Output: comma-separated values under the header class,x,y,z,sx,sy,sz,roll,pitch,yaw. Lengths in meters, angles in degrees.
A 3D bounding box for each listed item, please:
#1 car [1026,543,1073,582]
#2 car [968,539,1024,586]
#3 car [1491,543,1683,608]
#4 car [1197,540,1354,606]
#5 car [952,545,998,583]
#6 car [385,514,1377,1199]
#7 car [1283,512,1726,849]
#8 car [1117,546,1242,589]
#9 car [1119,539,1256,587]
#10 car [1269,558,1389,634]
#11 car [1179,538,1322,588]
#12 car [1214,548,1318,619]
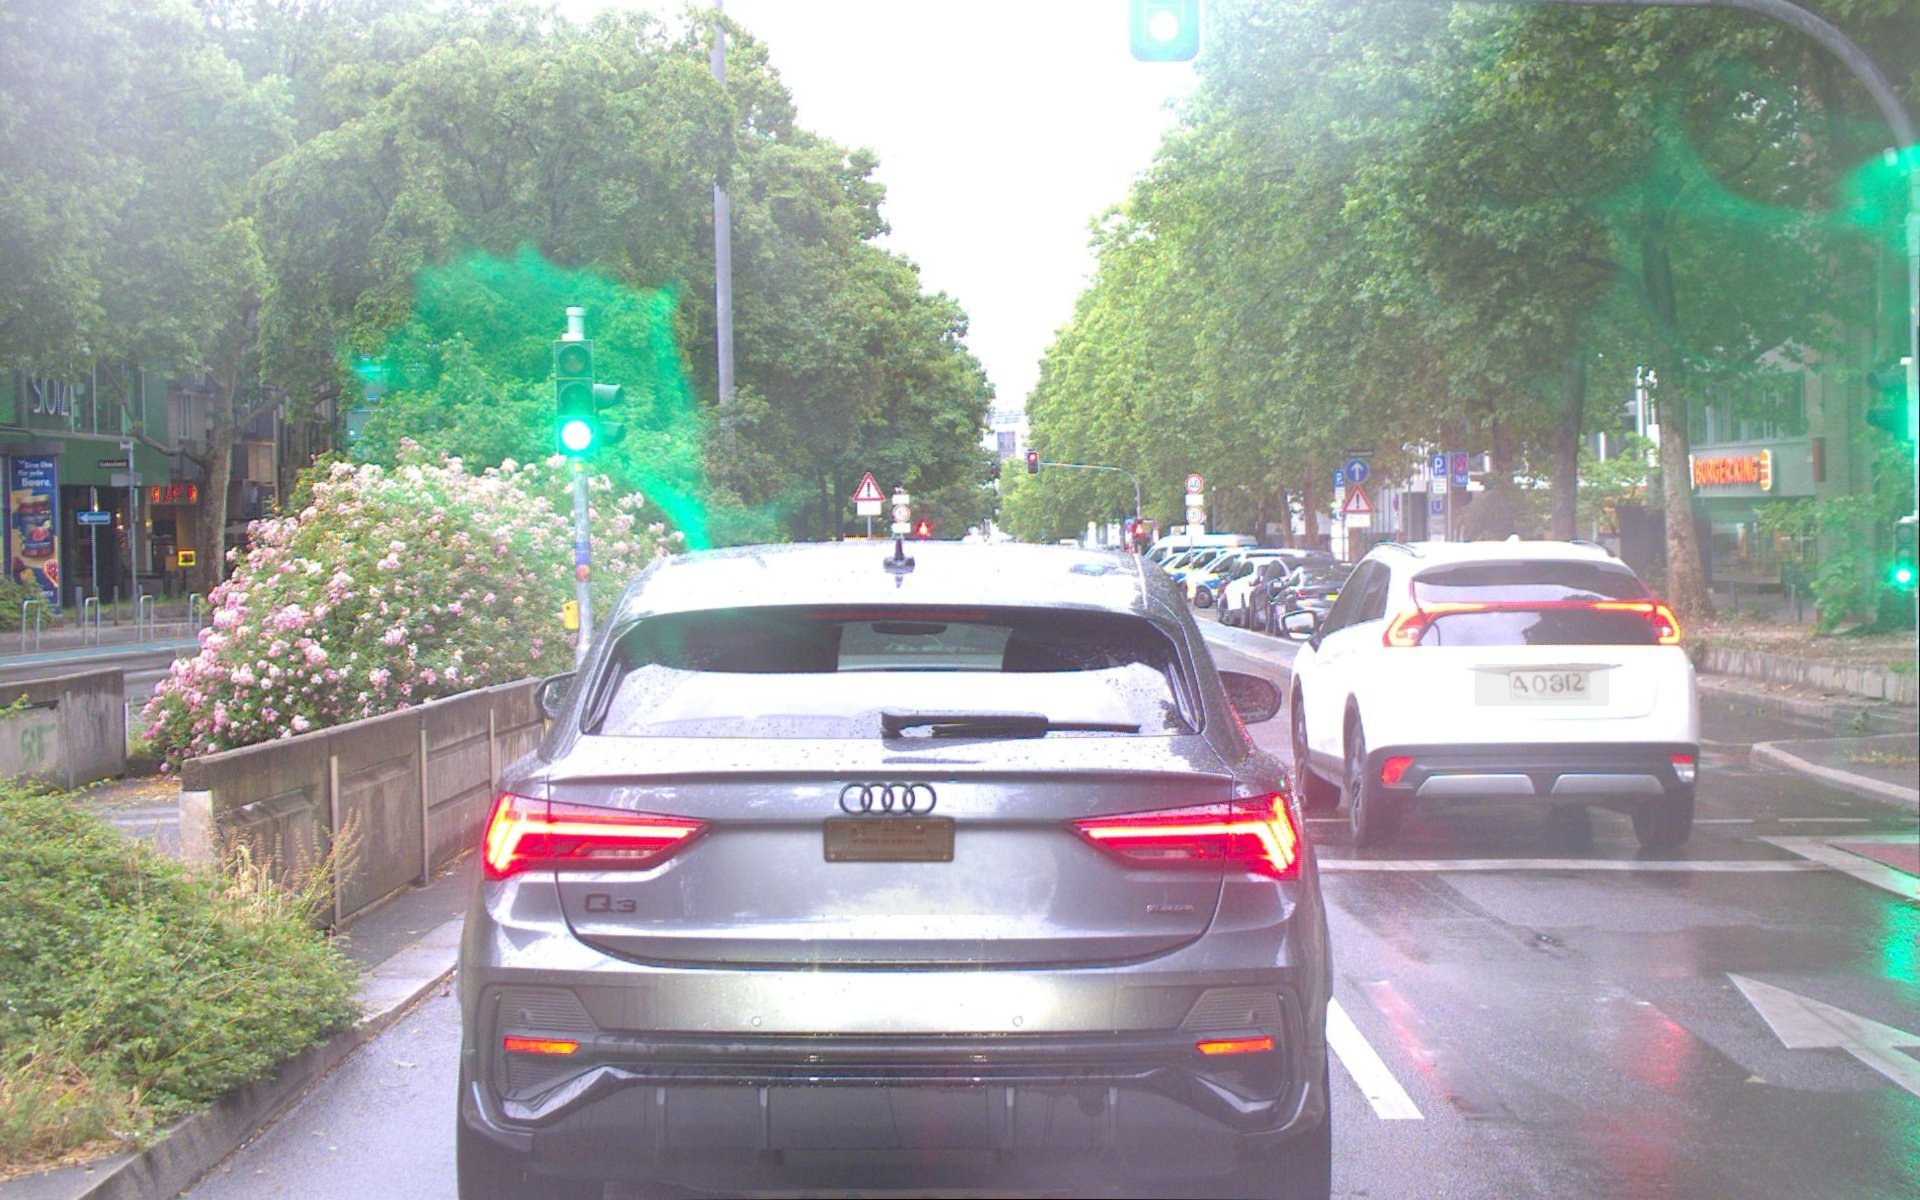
class,x,y,z,sx,sy,sz,roll,pitch,yaw
car,3.911,-1.619,150.942,1.993,1.645,4.000,1,0,1
car,1.340,-1.401,129.629,1.993,1.721,4.000,1,0,0
car,10.733,-0.416,58.858,2.889,1.071,1.453,1,0,32
car,9.987,-0.865,108.845,4.602,2.007,1.964,1,0,39
car,0.622,-1.532,148.582,1.896,1.593,3.939,1,0,-1
car,-0.173,0.617,8.416,1.849,1.596,4.000,0,1,-1
car,2.967,0.407,19.552,1.878,1.691,4.000,1,0,0
car,8.960,-1.326,140.376,4.646,1.700,1.997,1,0,28
car,8.402,-1.358,127.069,4.646,1.700,1.997,1,0,28
car,7.250,-0.092,67.965,1.873,1.416,4.611,1,0,0
car,10.386,-1.317,122.945,4.646,1.700,1.997,1,0,28
car,7.000,-0.371,79.069,1.727,1.566,4.074,1,0,-4
